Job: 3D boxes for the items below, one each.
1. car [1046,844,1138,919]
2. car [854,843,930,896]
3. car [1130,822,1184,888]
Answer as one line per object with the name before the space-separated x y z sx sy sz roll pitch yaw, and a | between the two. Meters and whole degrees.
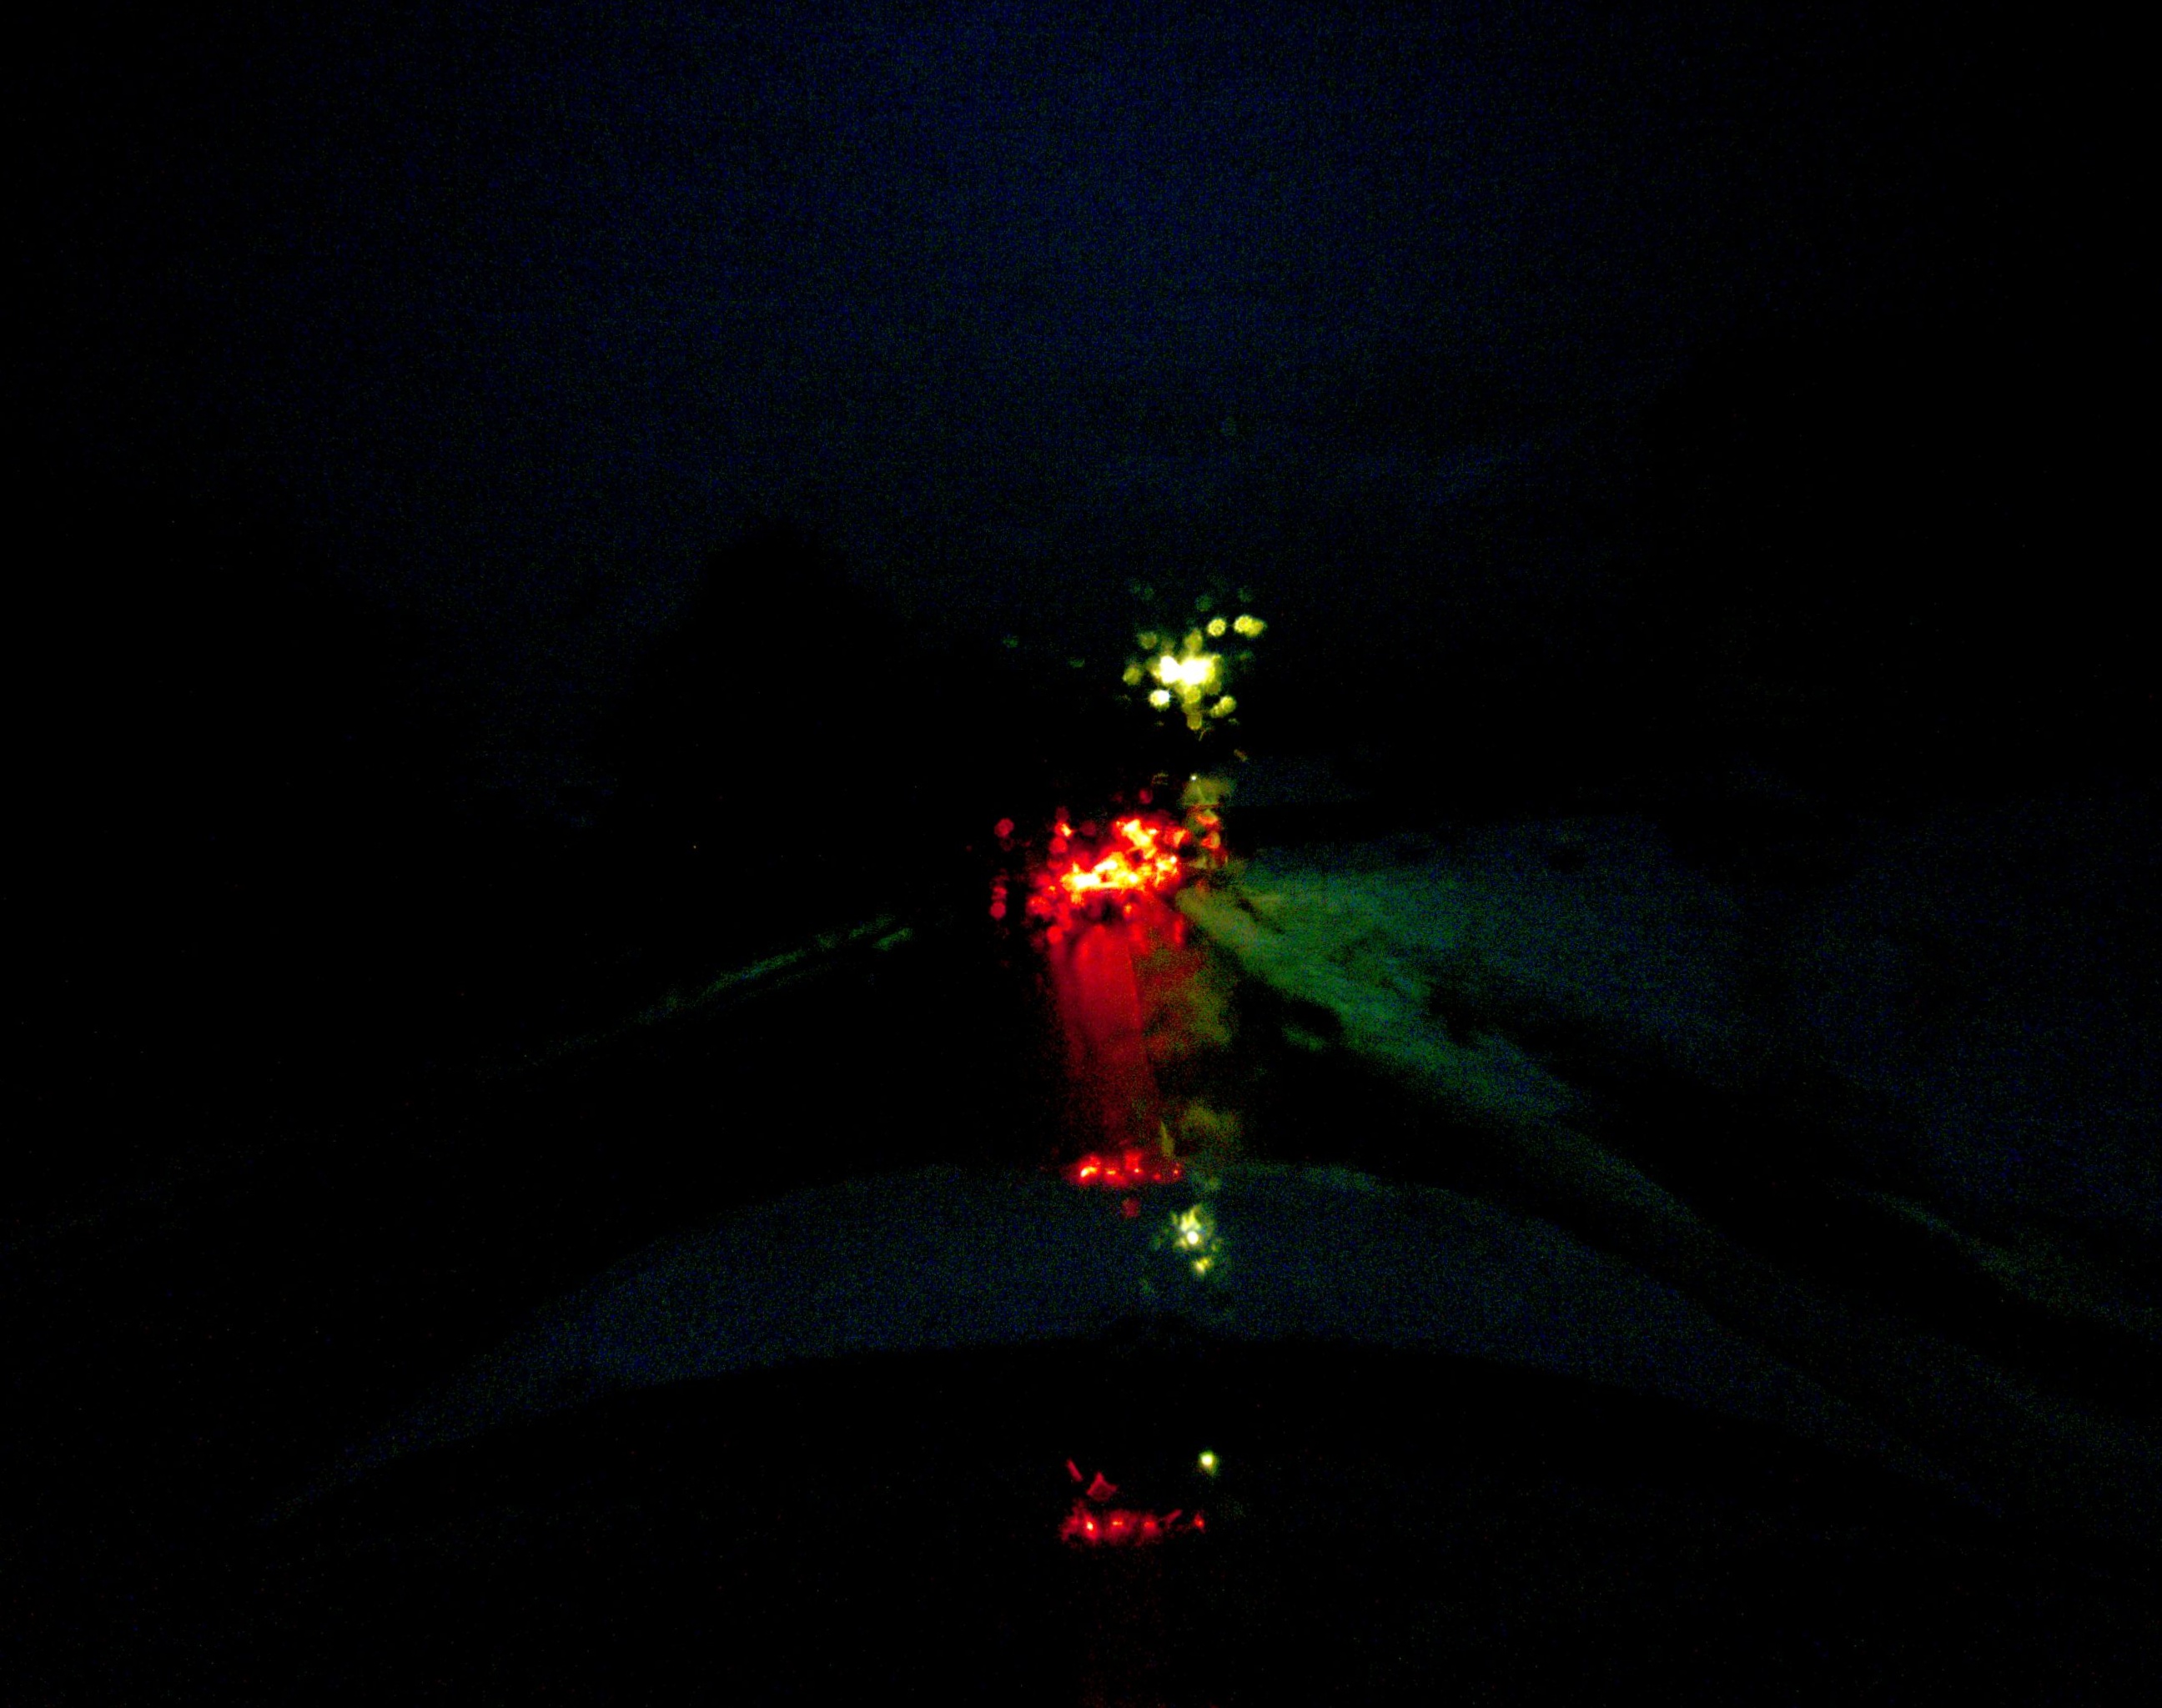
car | 0.310 0.717 23.196 2.266 1.841 5.006 -2 -1 0
car | -10.056 0.794 43.908 2.461 2.571 6.229 -2 -1 1
car | 3.884 0.104 42.048 2.424 3.019 5.331 -3 -2 4
